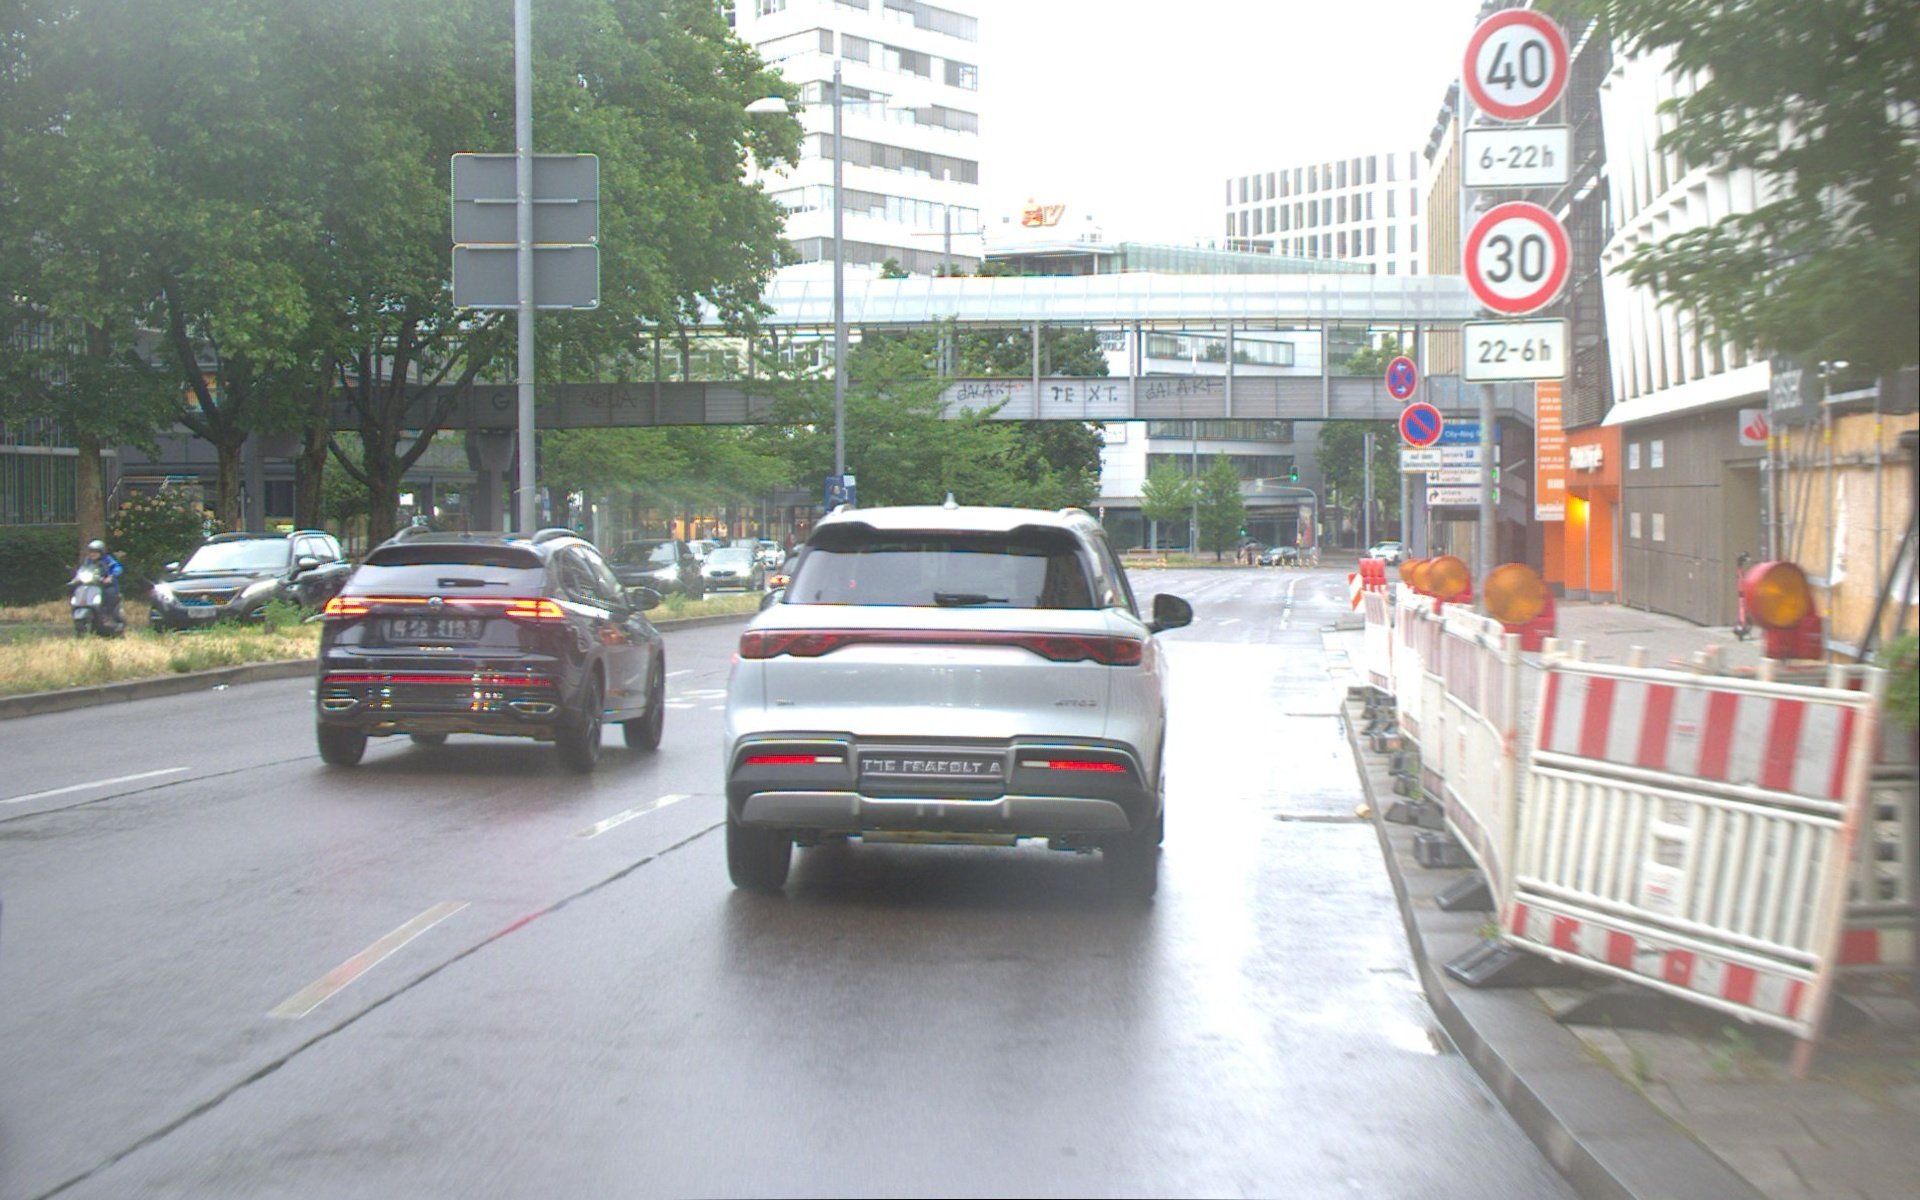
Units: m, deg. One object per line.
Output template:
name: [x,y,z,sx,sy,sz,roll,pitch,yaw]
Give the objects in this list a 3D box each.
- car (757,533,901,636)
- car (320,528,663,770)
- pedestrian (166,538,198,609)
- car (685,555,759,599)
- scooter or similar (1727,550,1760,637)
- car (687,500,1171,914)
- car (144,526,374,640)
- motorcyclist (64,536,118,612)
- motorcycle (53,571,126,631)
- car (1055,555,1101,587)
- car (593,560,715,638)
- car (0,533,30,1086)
car: [-2.071,-0.279,55.526,1.812,1.573,3.999,1,1,5]
car: [-2.987,0.284,22.669,1.774,1.452,4.000,0,0,-1]
pedestrian: [-19.788,-0.673,87.439,0.596,1.801,0.759,1,1,6]
car: [-7.948,-0.755,114.924,1.691,1.433,4.758,0,0,6]
scooter or similar: [11.230,-0.102,49.273,0.412,1.232,1.188,1,1,14]
car: [-0.005,0.398,15.525,1.901,1.616,4.000,0,1,4]
car: [-9.273,-0.227,45.831,1.700,1.432,4.581,0,0,6]
motorcyclist: [-14.313,-0.429,56.616,0.675,1.234,0.619,1,1,7]
motorcycle: [-14.328,0.014,56.625,0.694,0.966,1.396,1,1,7]
car: [5.154,-1.257,149.732,1.654,1.337,3.999,1,1,7]
car: [-6.748,-0.041,76.329,1.874,1.674,4.680,0,0,5]
car: [-3.460,0.588,7.201,1.672,1.474,4.360,1,1,2]
